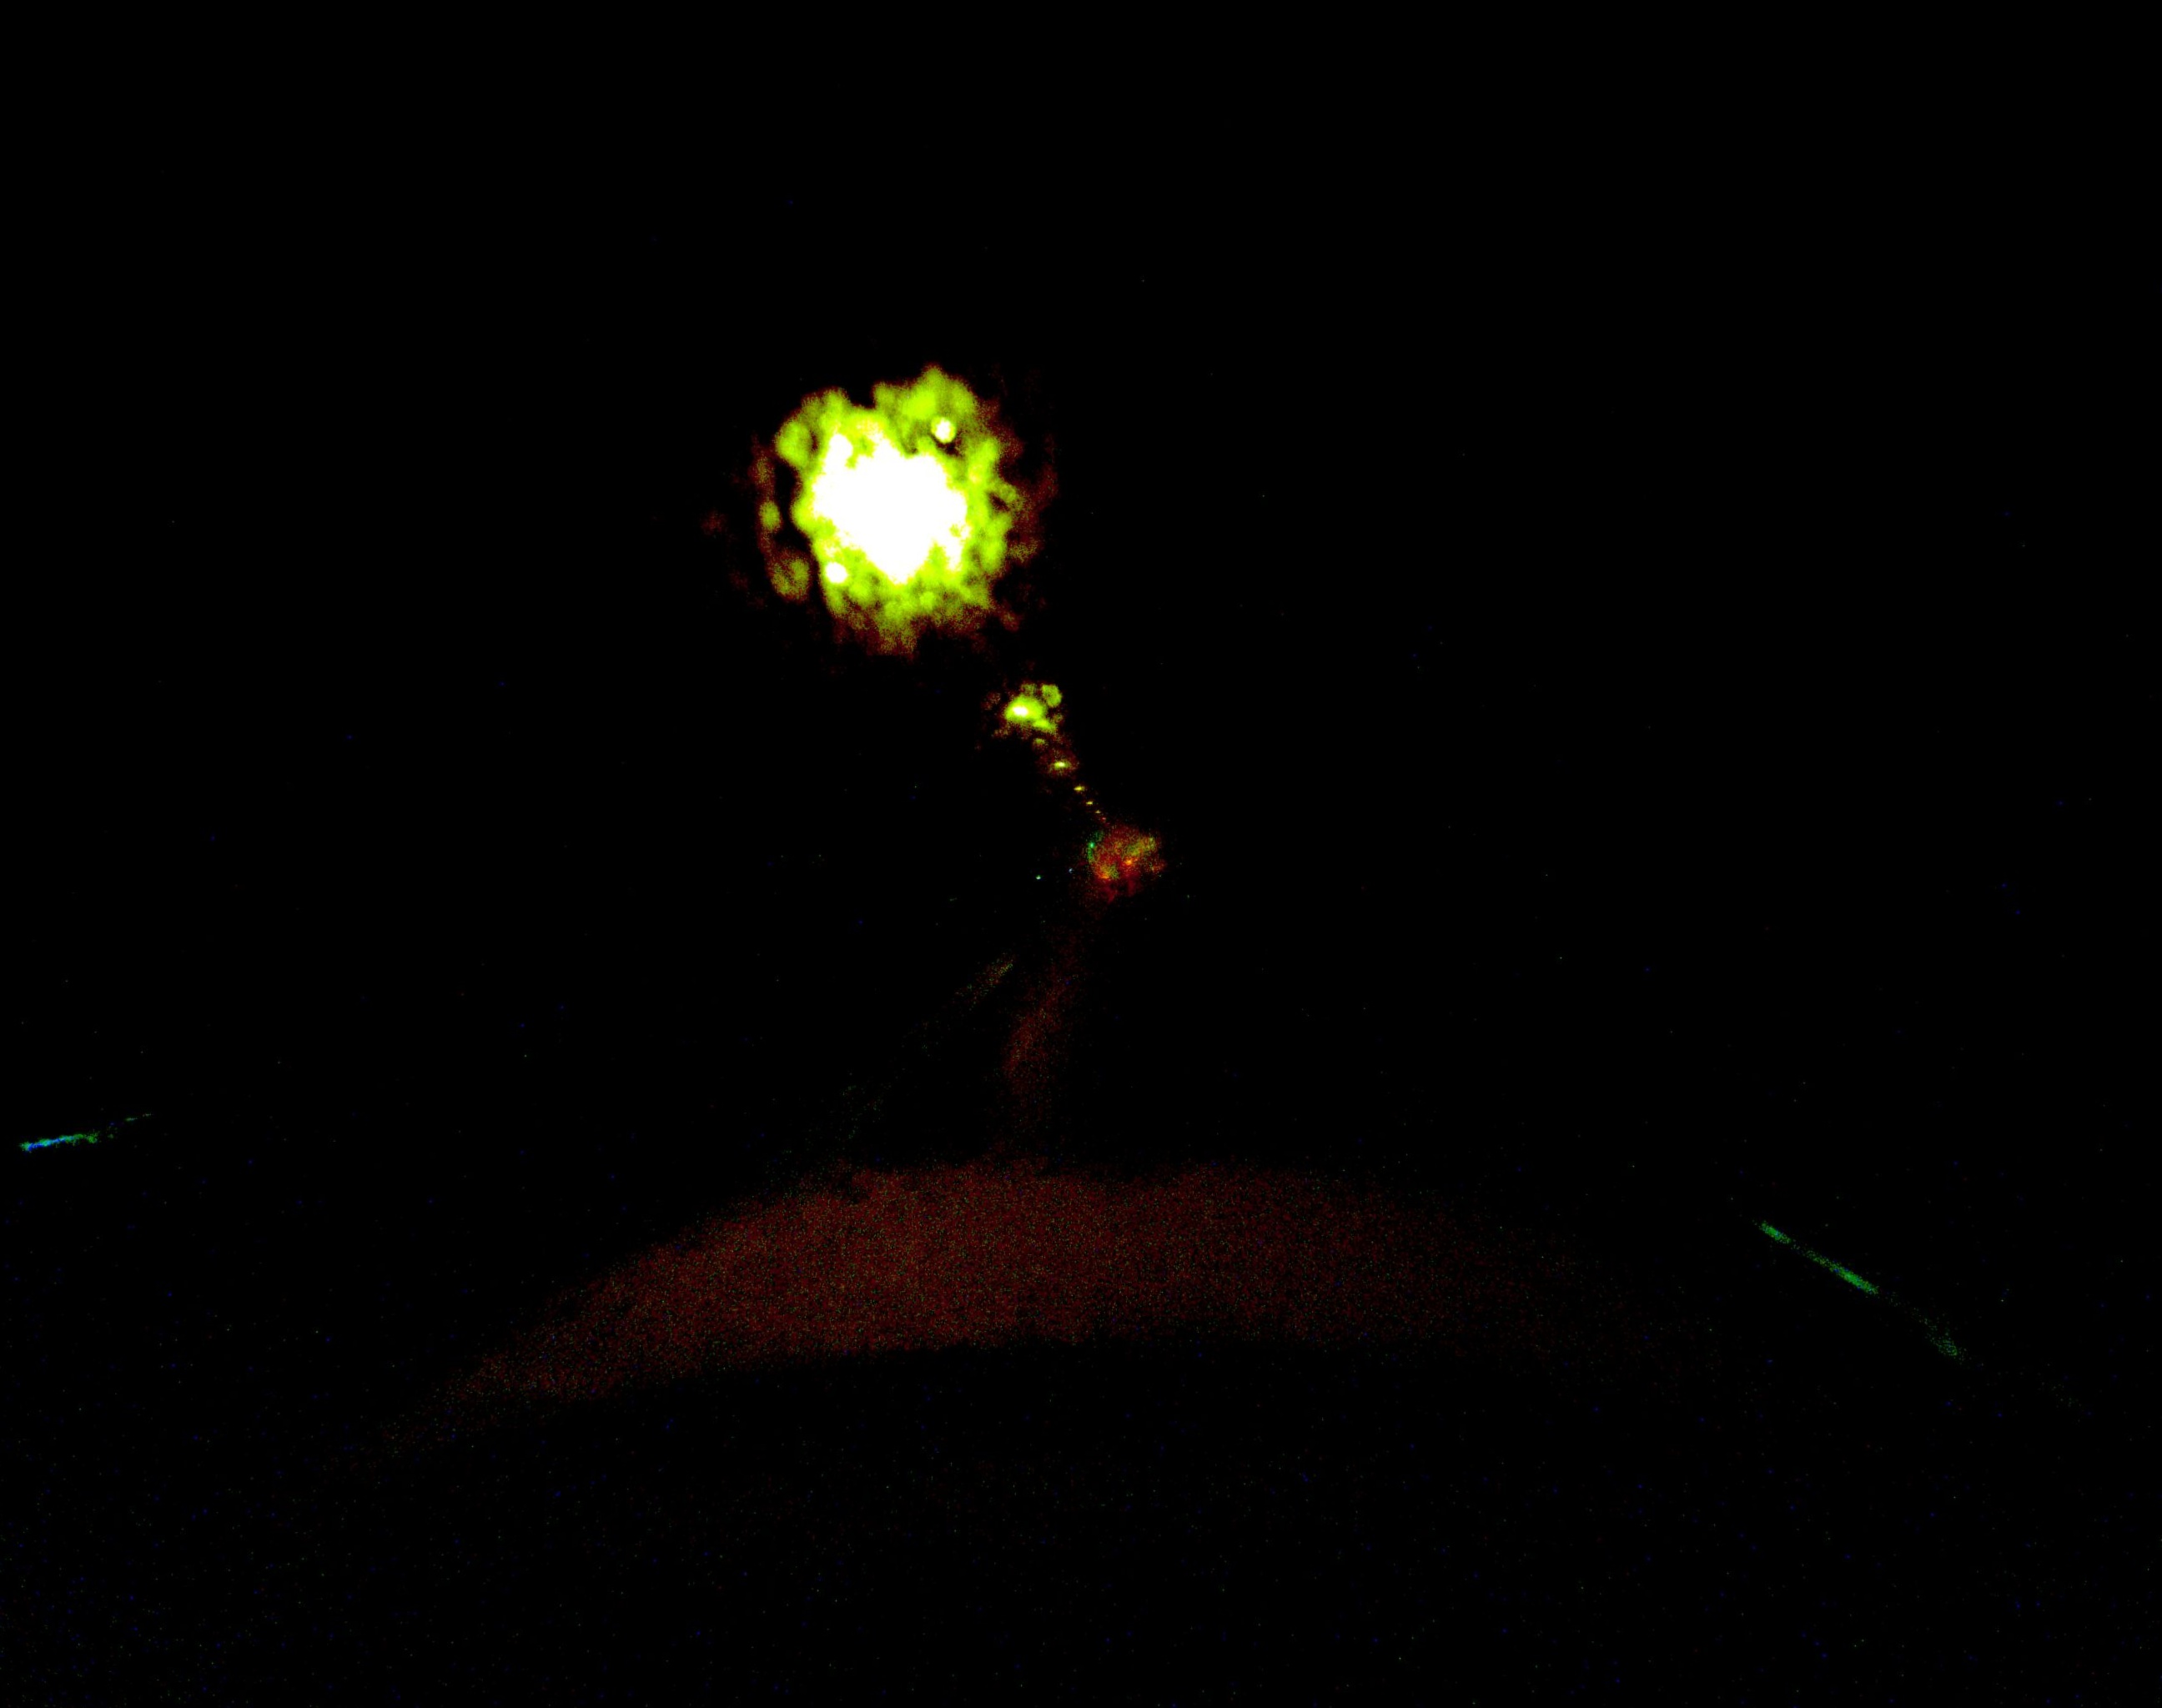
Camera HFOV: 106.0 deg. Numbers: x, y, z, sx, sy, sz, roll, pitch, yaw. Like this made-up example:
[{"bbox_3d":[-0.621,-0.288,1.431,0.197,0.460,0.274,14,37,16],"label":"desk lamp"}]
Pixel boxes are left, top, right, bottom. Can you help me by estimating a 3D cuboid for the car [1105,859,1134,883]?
[{"bbox_3d":[2.833,1.243,59.471,2.081,1.662,4.003,-1,-1,3],"label":"car"}]
